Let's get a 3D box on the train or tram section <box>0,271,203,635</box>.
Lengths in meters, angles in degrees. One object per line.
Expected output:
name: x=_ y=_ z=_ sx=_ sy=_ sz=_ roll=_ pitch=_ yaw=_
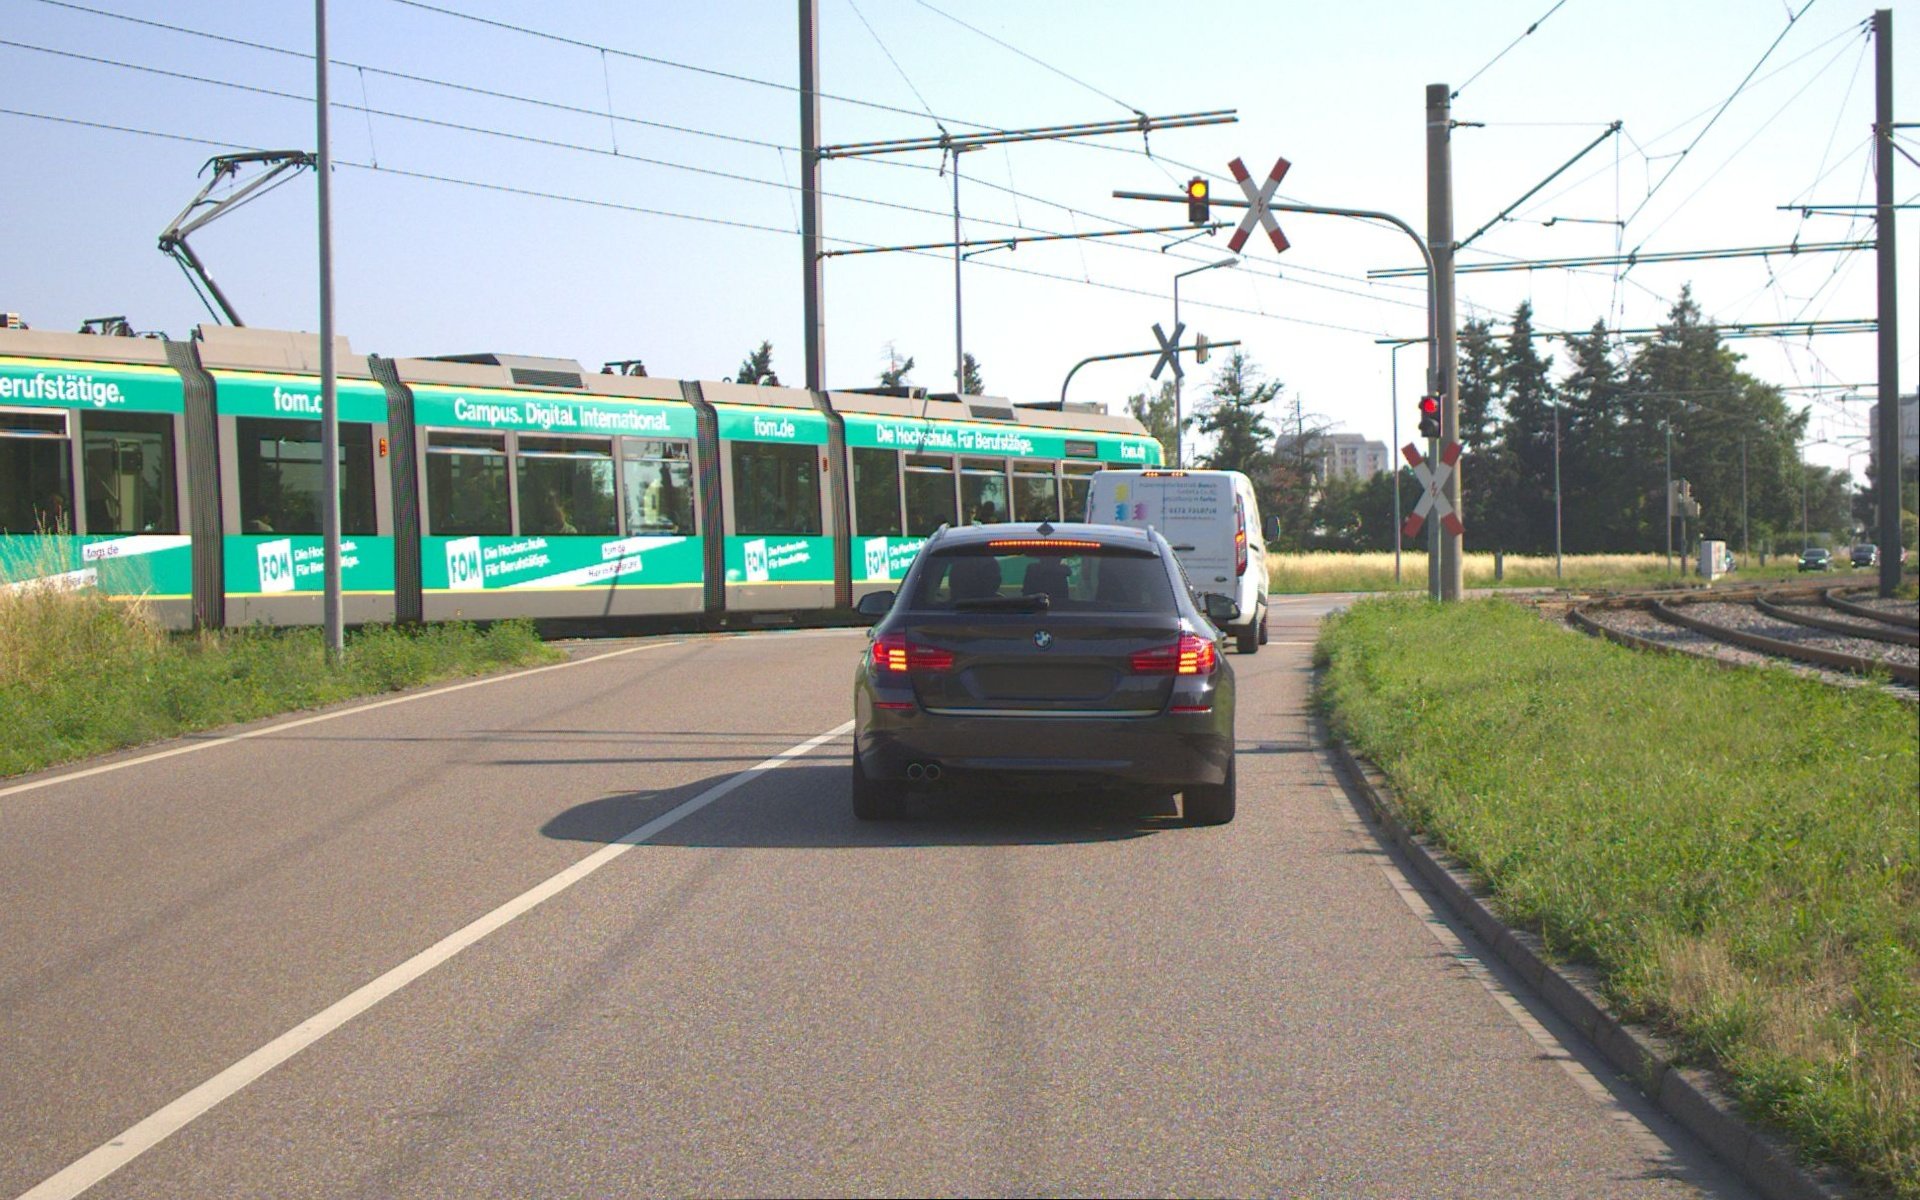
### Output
train or tram section: x=-12.013 y=-1.408 z=30.763 sx=2.955 sy=3.472 sz=12.146 roll=1 pitch=1 yaw=29

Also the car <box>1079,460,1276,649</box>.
car: x=2.524 y=-0.525 z=38.814 sx=1.858 sy=1.981 sz=5.107 roll=1 pitch=1 yaw=8

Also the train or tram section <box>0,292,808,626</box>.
train or tram section: x=-6.229 y=-1.468 z=41.547 sx=2.922 sy=3.442 sz=12.146 roll=1 pitch=0 yaw=28

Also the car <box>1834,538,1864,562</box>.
car: x=63.004 y=-3.560 z=243.674 sx=1.708 sy=1.659 sz=4.586 roll=0 pitch=1 yaw=19

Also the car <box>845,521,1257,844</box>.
car: x=0.514 y=0.320 z=18.047 sx=1.869 sy=1.447 sz=4.744 roll=0 pitch=1 yaw=2

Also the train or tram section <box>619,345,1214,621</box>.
train or tram section: x=-0.179 y=-1.568 z=53.308 sx=2.911 sy=3.556 sz=14.239 roll=1 pitch=0 yaw=27

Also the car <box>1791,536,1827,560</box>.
car: x=52.631 y=-3.227 z=213.008 sx=1.695 sy=1.434 sz=4.279 roll=1 pitch=1 yaw=20
